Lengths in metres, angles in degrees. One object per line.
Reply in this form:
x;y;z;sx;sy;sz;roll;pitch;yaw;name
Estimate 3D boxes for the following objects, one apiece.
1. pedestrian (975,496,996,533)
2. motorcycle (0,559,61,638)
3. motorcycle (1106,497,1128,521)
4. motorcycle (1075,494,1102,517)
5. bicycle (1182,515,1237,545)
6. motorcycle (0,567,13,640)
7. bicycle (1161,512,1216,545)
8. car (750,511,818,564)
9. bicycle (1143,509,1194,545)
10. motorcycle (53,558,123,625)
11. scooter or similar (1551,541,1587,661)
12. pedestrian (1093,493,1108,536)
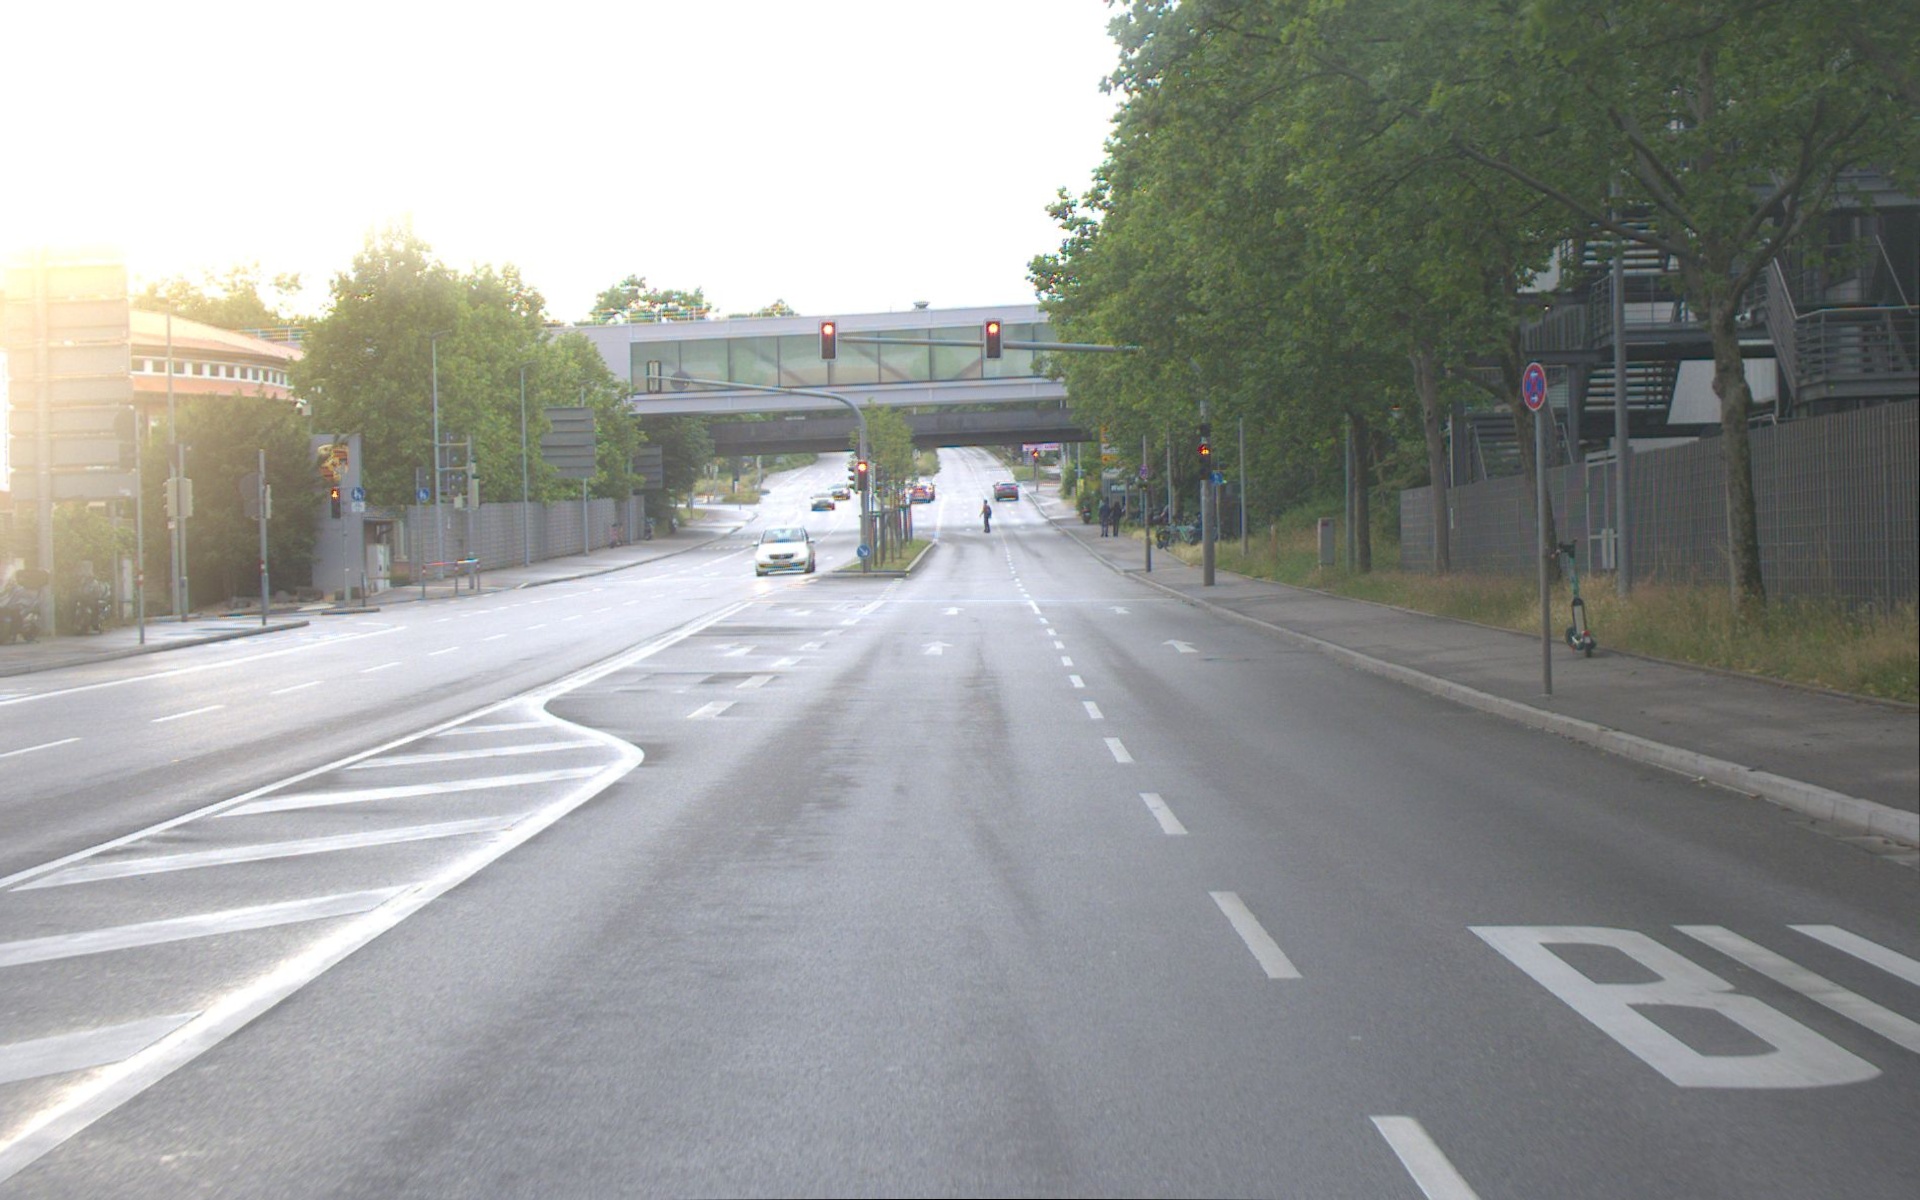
1.392;-4.696;189.729;0.873;1.997;0.854;-2;1;18;pedestrian
-16.725;-0.036;61.231;0.784;1.343;2.370;-2;1;0;motorcycle
8.777;-5.098;192.209;0.790;1.307;2.377;-3;1;-7;motorcycle
7.362;-5.416;197.208;0.790;1.307;2.377;-3;1;-17;motorcycle
9.146;-2.570;126.201;1.990;1.091;0.541;1;0;2;bicycle
-16.895;0.081;58.752;0.784;1.246;2.157;-2;1;0;motorcycle
8.487;-2.654;127.678;1.990;1.212;0.541;1;0;2;bicycle
-5.728;-2.056;112.150;1.877;1.619;3.779;-2;2;1;car
8.451;-2.956;139.355;1.990;1.425;0.723;1;0;2;bicycle
-16.949;-0.171;66.847;0.784;1.243;2.157;-2;1;0;motorcycle
6.582;-0.001;37.179;0.329;1.265;1.108;-1;1;9;scooter or similar
6.632;-4.030;162.517;0.622;2.007;0.605;-2;1;1;pedestrian
